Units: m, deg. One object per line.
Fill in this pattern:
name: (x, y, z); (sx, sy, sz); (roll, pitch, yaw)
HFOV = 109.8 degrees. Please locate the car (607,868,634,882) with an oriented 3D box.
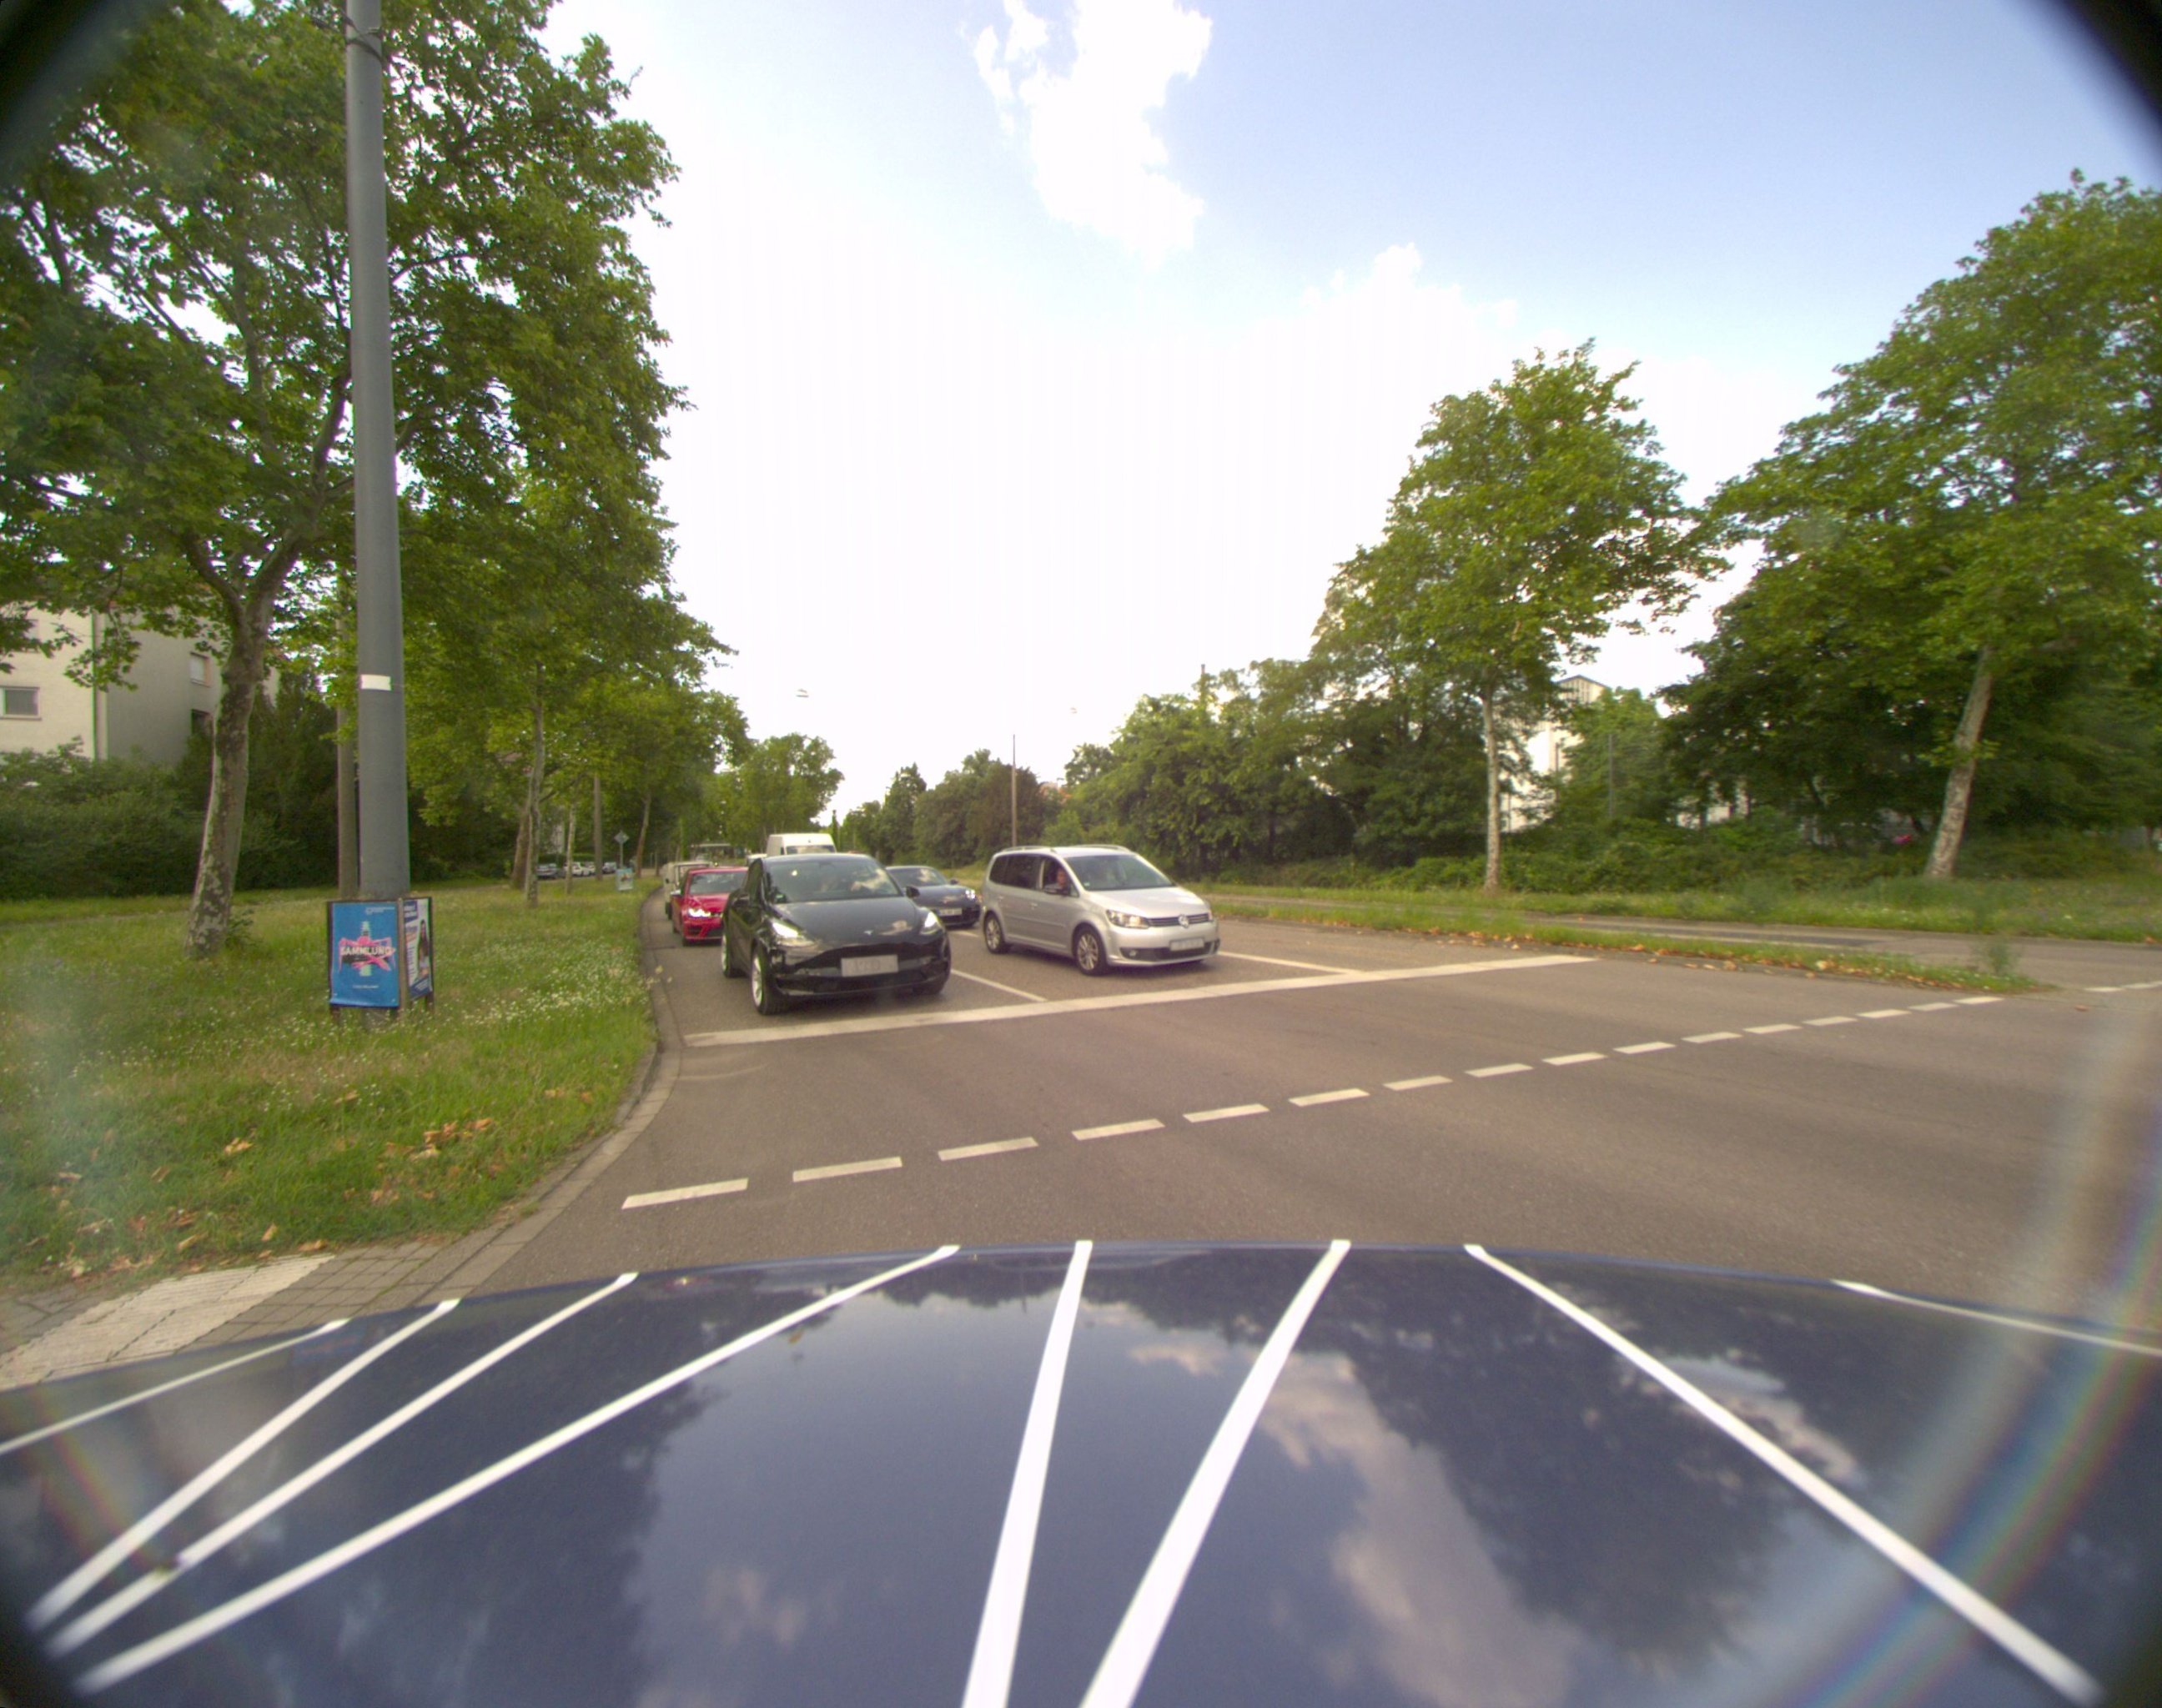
car: (-54.201, 2.447, 89.422); (1.778, 1.586, 3.652); (-1, -1, -16)

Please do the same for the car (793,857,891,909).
car: (-7.413, 0.812, 23.262); (1.767, 1.367, 4.332); (-3, 2, -32)

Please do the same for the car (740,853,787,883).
car: (-18.503, 0.753, 44.187); (1.768, 1.637, 4.332); (-1, 1, -32)

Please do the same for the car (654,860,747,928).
car: (-10.691, 1.008, 21.178); (1.805, 1.561, 4.491); (-3, 2, -32)

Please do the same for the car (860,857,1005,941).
car: (-3.350, 0.856, 16.557); (1.807, 1.499, 3.990); (-3, 2, -30)

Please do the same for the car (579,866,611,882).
car: (-50.498, 2.078, 79.057); (1.778, 1.586, 3.652); (-1, -1, -16)

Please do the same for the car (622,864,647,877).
car: (-56.899, 2.171, 96.838); (1.778, 1.586, 3.652); (-1, -1, -16)

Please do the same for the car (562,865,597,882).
car: (-49.384, 1.941, 74.909); (1.778, 1.586, 3.652); (-1, -1, -16)

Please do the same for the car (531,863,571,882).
car: (-46.230, 1.633, 66.334); (1.778, 1.586, 3.652); (-1, -1, -16)

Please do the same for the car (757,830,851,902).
car: (-11.178, 0.420, 30.350); (2.231, 2.515, 5.918); (-3, 2, -32)

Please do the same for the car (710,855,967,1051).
car: (-3.166, 0.884, 9.155); (1.934, 1.643, 4.568); (-3, 2, -30)

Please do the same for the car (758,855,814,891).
car: (-14.502, 0.867, 37.242); (1.847, 1.609, 4.146); (-2, 1, -31)

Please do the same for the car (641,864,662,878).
car: (-60.461, 2.450, 106.994); (1.778, 1.925, 3.652); (-1, -1, -16)

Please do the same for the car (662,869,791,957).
car: (-7.392, 1.070, 15.582); (1.805, 1.383, 4.491); (-3, 2, -32)

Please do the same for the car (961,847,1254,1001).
car: (0.113, 0.775, 10.806); (1.934, 1.643, 4.491); (-3, 2, -32)
